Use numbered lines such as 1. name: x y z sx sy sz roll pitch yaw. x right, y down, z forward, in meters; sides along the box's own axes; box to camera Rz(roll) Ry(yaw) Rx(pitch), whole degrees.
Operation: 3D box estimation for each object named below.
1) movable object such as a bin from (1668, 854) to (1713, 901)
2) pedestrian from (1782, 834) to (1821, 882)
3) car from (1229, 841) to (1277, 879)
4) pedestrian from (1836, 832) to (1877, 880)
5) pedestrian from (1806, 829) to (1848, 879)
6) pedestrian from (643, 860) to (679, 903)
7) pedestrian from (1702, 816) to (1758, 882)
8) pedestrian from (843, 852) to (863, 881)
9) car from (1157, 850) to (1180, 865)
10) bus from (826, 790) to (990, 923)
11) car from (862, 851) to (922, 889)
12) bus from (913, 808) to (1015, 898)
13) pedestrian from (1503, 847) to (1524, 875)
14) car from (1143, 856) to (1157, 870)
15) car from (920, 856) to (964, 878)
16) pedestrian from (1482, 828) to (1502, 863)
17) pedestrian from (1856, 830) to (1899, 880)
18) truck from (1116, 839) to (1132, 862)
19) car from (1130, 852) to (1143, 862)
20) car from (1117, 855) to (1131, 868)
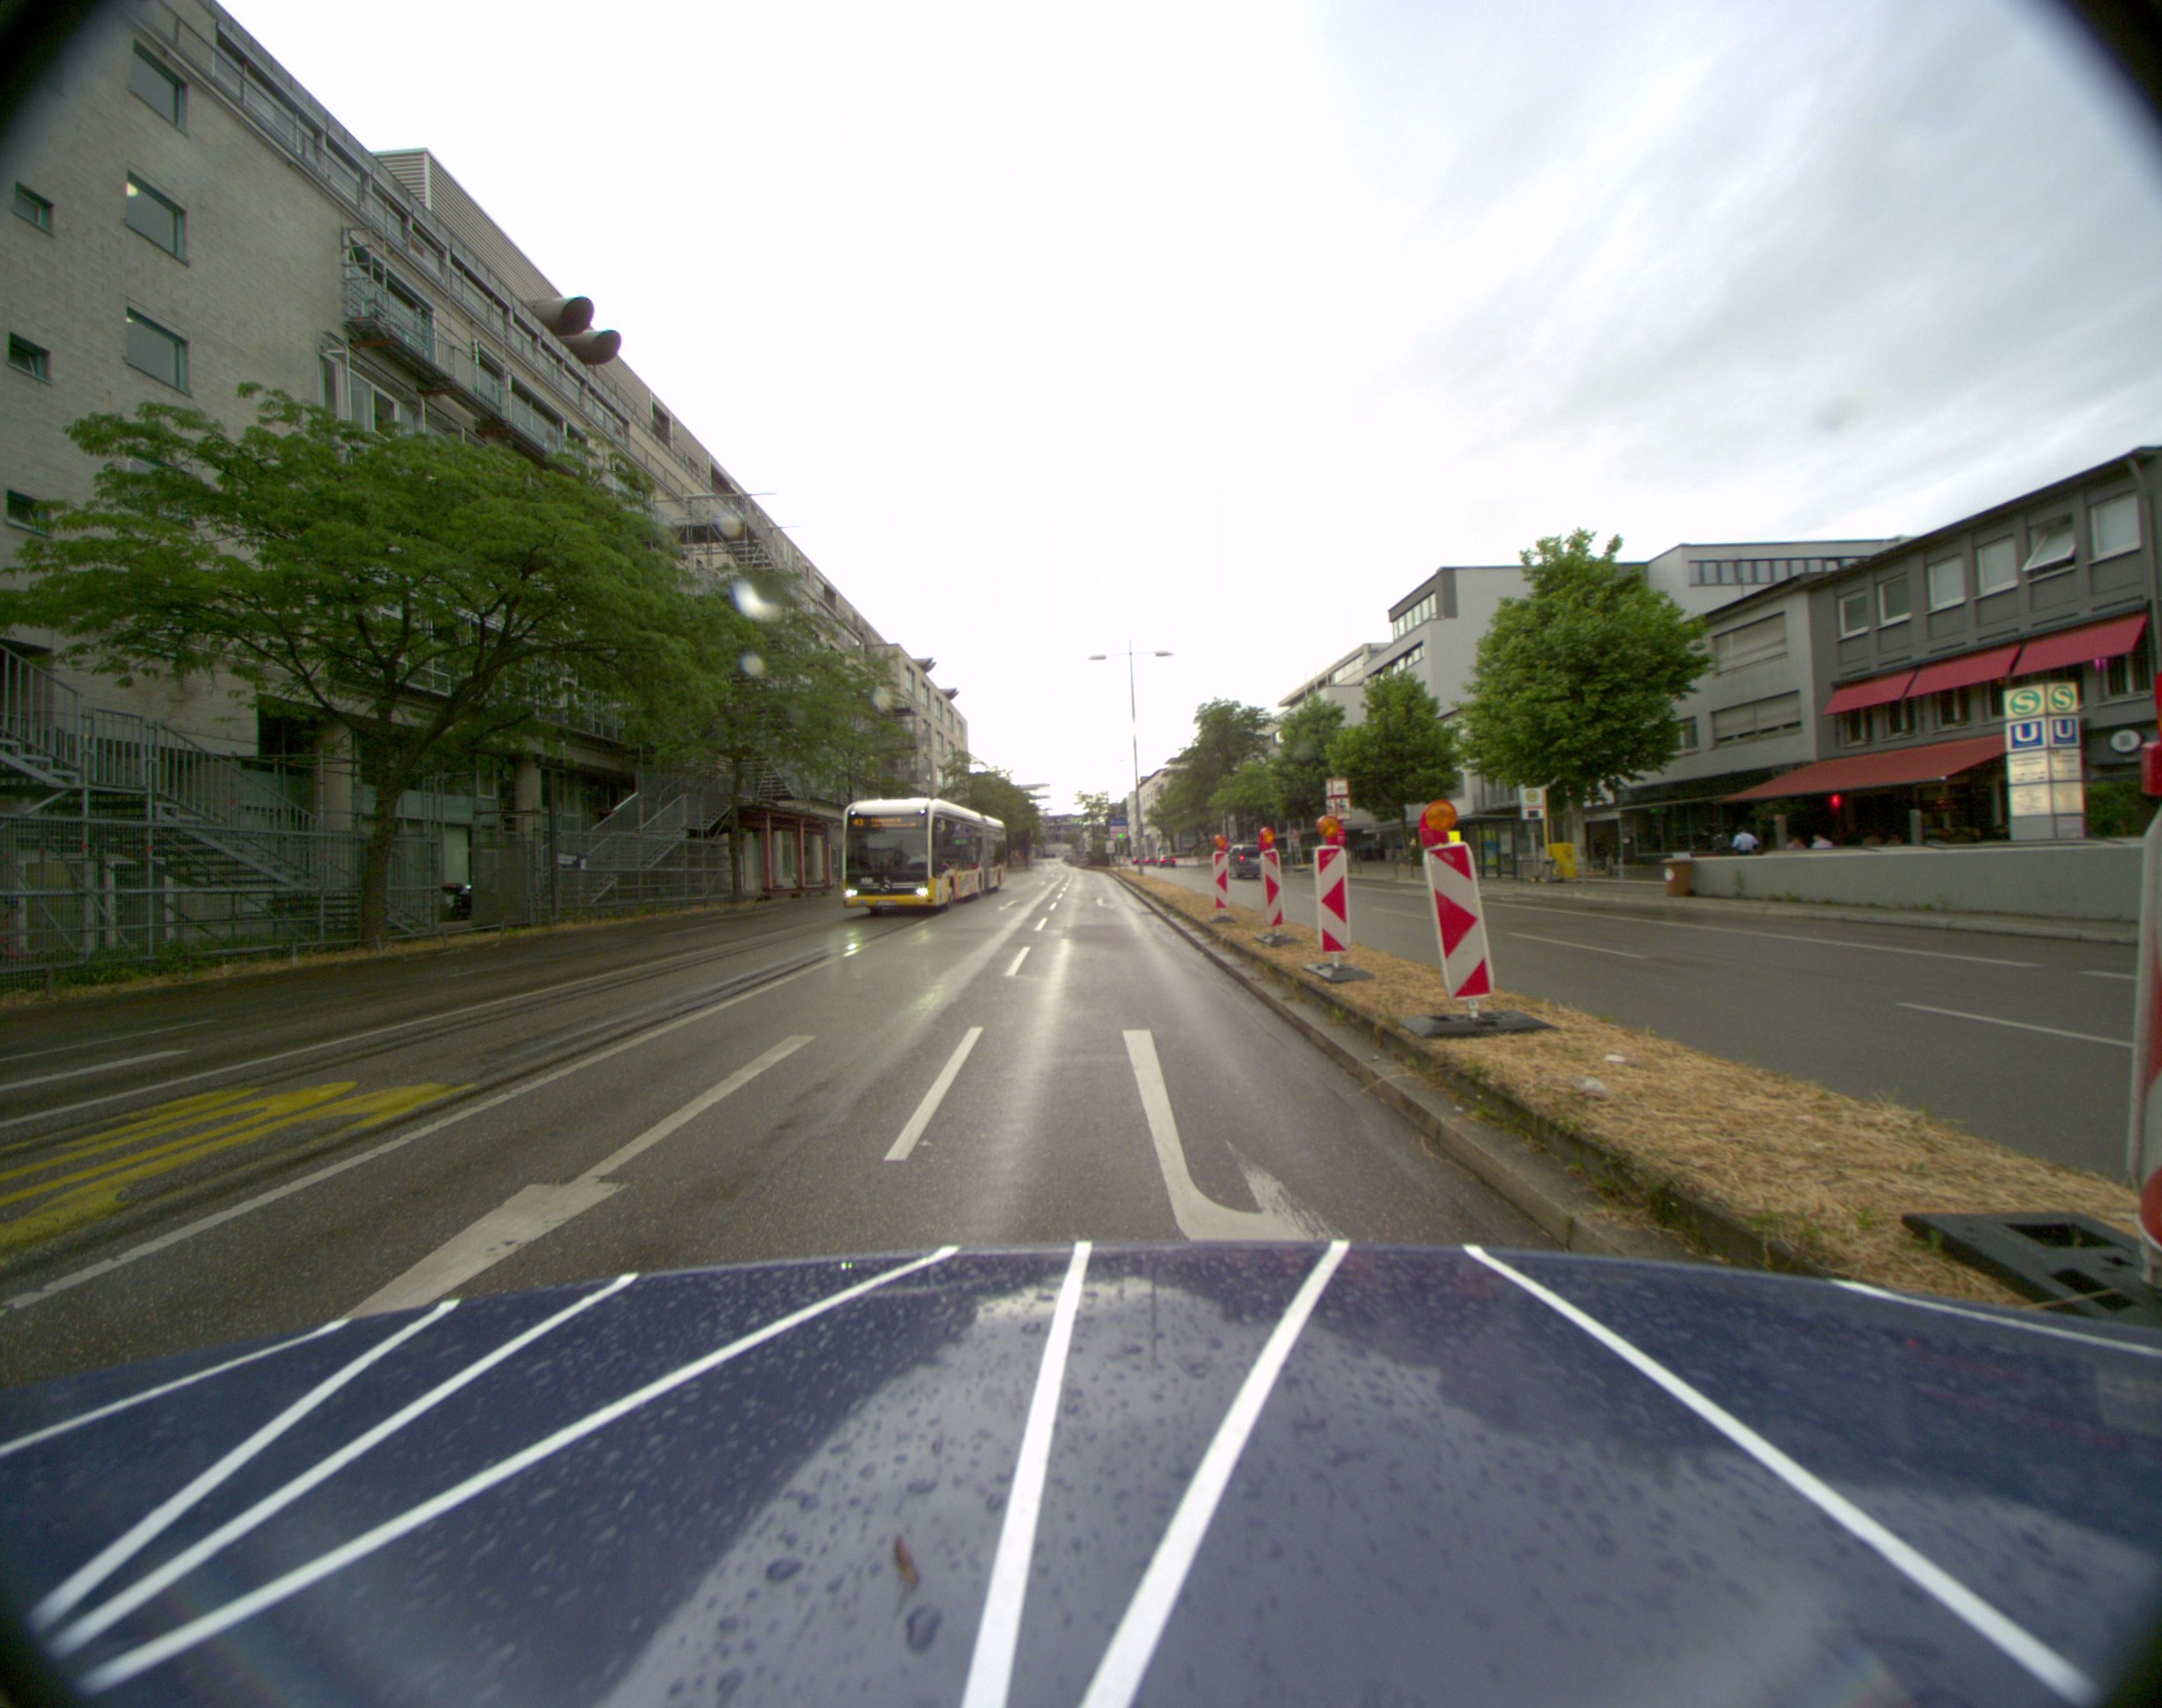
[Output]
1. movable object such as a bin: 14.563 0.551 18.165 0.507 1.094 0.660 -2 1 -2
2. pedestrian: 23.341 0.136 24.629 0.669 1.520 0.611 -2 1 3
3. car: 9.618 0.299 42.926 1.998 1.916 4.966 -2 1 6
4. pedestrian: 25.038 0.063 24.540 0.669 1.520 0.611 -2 1 4
5. pedestrian: 23.277 -0.003 23.714 0.669 1.520 0.611 -2 1 3
6. pedestrian: -18.250 1.199 33.047 1.010 1.789 0.845 -2 1 -3
7. pedestrian: 20.359 -0.170 23.865 0.922 2.002 0.944 -2 1 0
8. pedestrian: -16.154 0.874 53.953 1.009 2.002 1.039 -2 1 1
9. car: 9.773 0.396 85.312 1.692 1.501 4.290 3 -1 -4
10. bus: -5.182 0.018 25.074 2.890 3.430 9.756 -2 1 1
11. car: -10.530 0.834 42.651 2.213 1.895 4.329 -2 1 0
12. bus: -5.027 -0.091 34.799 2.890 3.420 9.709 -2 1 1
13. pedestrian: 25.229 0.392 44.318 0.774 1.556 0.767 -2 1 8
14. car: 10.509 1.375 115.331 1.691 1.420 4.221 -2 -9 0
15. car: -9.896 0.911 54.416 2.147 1.329 4.816 -2 1 1
16. pedestrian: 23.979 -0.506 44.355 0.774 2.002 0.767 -2 1 8
17. pedestrian: 24.997 0.033 23.862 0.669 1.520 0.611 -2 1 3
18. truck: 7.107 -0.567 127.112 1.999 3.557 7.572 -2 0 -2
19. car: 9.754 0.486 133.752 1.692 1.545 4.419 -2 1 -2
20. car: 7.336 1.314 130.919 1.999 2.002 3.999 -2 1 -2
